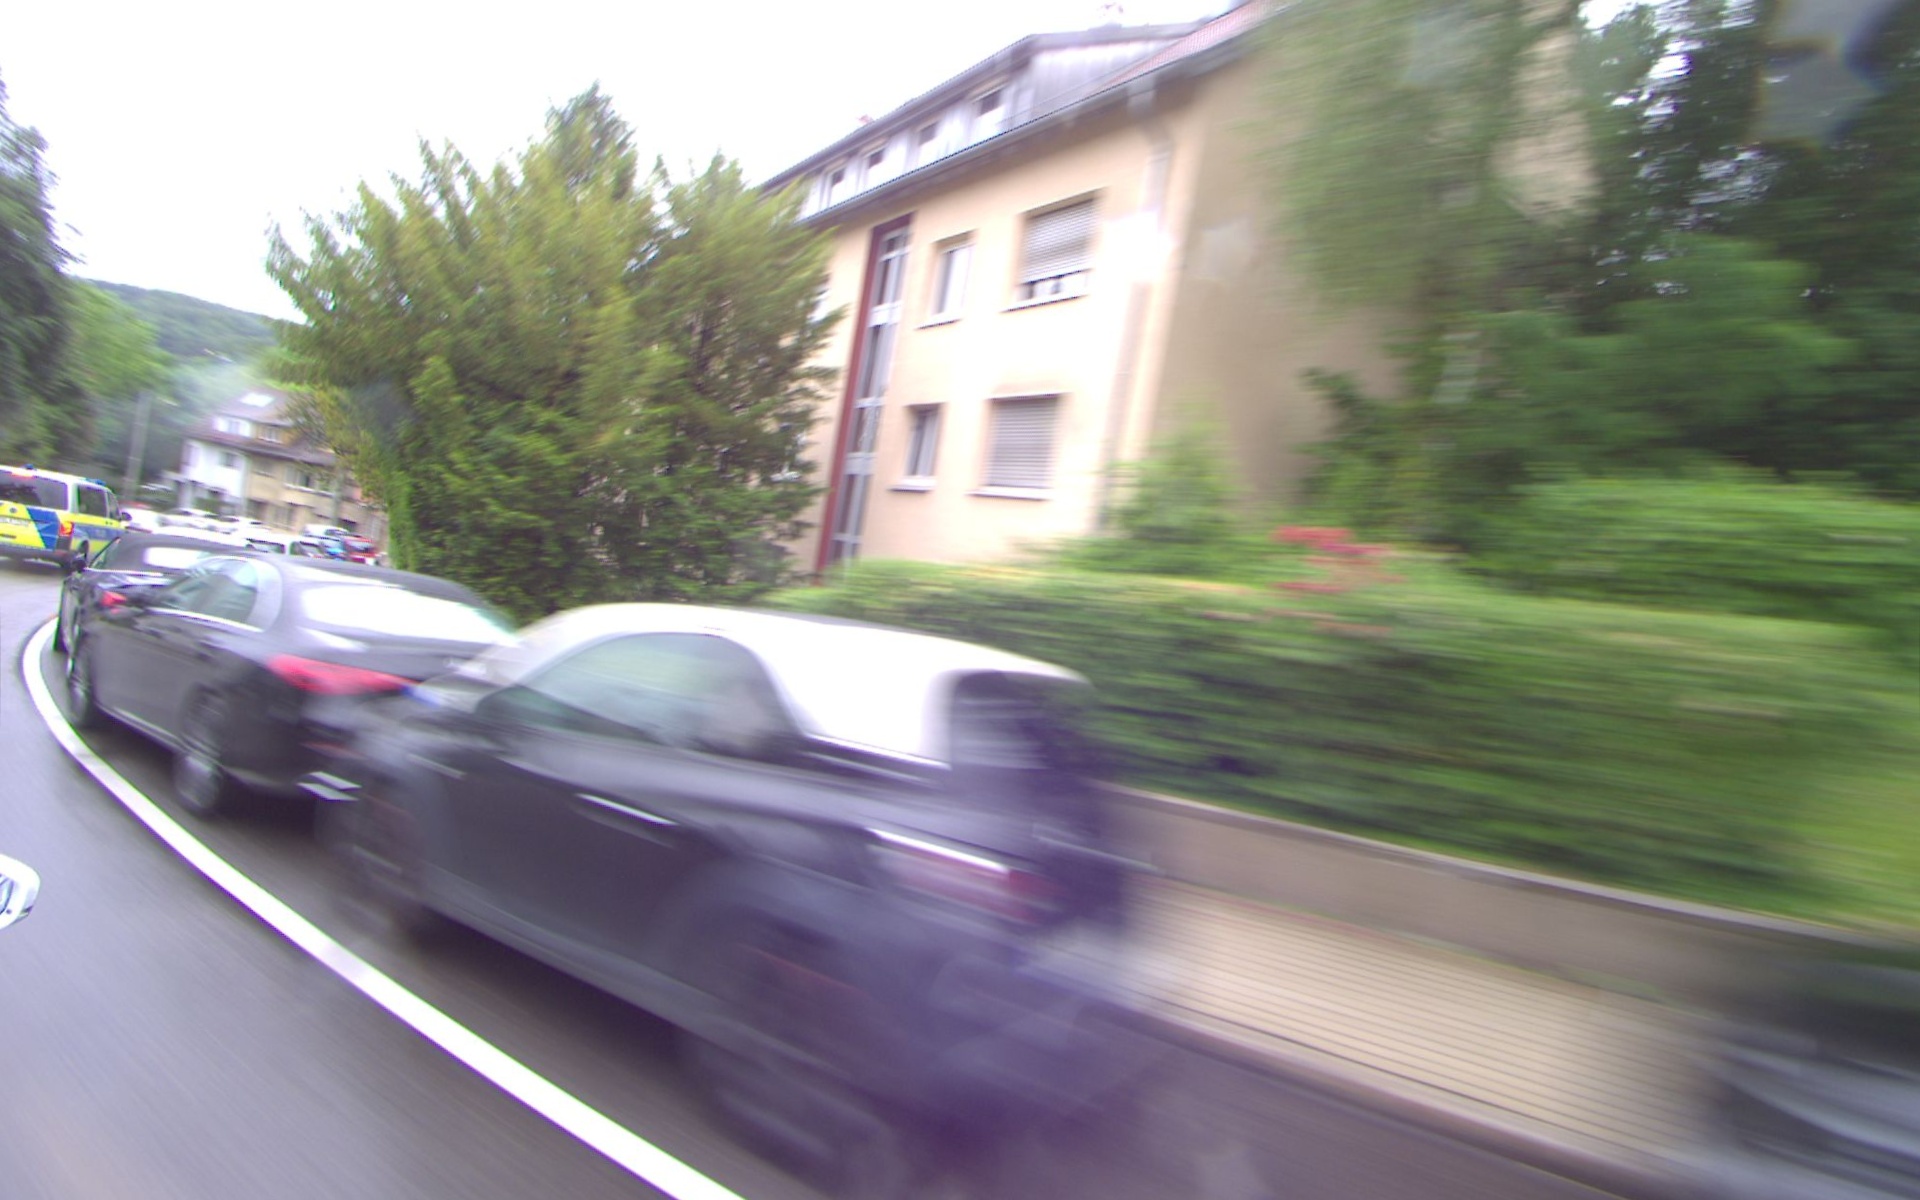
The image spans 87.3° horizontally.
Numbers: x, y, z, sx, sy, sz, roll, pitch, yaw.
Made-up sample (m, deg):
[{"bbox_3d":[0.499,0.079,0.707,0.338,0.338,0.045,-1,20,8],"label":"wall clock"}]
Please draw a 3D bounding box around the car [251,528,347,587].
[{"bbox_3d":[-20.464,-1.316,31.310,1.674,1.472,4.228,9,-1,-24],"label":"car"}]

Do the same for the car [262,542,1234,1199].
[{"bbox_3d":[-1.032,0.716,4.094,3.678,1.491,1.681,8,3,33],"label":"car"}]

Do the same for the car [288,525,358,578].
[{"bbox_3d":[-23.582,-1.806,37.389,1.720,1.612,4.223,9,-1,-28],"label":"car"}]

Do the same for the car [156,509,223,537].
[{"bbox_3d":[-53.787,-5.373,70.250,3.750,1.535,1.769,7,2,15],"label":"car"}]

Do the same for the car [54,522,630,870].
[{"bbox_3d":[-4.376,0.406,6.809,4.463,1.453,1.806,7,1,38],"label":"car"}]

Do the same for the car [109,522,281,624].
[{"bbox_3d":[-13.588,-0.543,18.140,1.765,1.453,4.533,6,0,-30],"label":"car"}]

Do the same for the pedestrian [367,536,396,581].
[{"bbox_3d":[-23.219,-1.653,40.400,0.605,1.669,0.620,8,-1,37],"label":"pedestrian"}]

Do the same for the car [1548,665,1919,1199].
[{"bbox_3d":[3.290,1.127,1.447,3.998,1.455,1.717,7,3,28],"label":"car"}]

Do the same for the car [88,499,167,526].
[{"bbox_3d":[-58.797,-6.157,71.074,4.117,1.385,1.784,6,2,3],"label":"car"}]

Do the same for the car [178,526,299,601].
[{"bbox_3d":[-18.086,-0.949,25.405,1.793,1.472,4.223,9,-1,-28],"label":"car"}]

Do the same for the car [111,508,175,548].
[{"bbox_3d":[-37.965,-3.345,46.809,1.640,1.435,3.770,11,-2,-32],"label":"car"}]

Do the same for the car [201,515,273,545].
[{"bbox_3d":[-49.426,-4.777,68.810,4.333,1.559,1.917,7,3,22],"label":"car"}]

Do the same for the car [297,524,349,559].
[{"bbox_3d":[-40.339,-3.730,63.681,4.267,1.815,1.700,8,3,43],"label":"car"}]

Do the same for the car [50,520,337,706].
[{"bbox_3d":[-7.951,0.041,10.238,1.801,1.365,4.563,6,1,-43],"label":"car"}]

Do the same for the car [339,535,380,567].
[{"bbox_3d":[-33.429,-2.759,55.935,1.605,1.455,3.544,4,3,-36],"label":"car"}]

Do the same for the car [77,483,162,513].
[{"bbox_3d":[-63.098,-7.711,75.587,1.966,1.874,4.382,10,13,31],"label":"car"}]

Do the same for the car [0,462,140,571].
[{"bbox_3d":[-19.065,-1.691,21.039,1.977,1.916,4.539,7,-1,-28],"label":"car"}]
